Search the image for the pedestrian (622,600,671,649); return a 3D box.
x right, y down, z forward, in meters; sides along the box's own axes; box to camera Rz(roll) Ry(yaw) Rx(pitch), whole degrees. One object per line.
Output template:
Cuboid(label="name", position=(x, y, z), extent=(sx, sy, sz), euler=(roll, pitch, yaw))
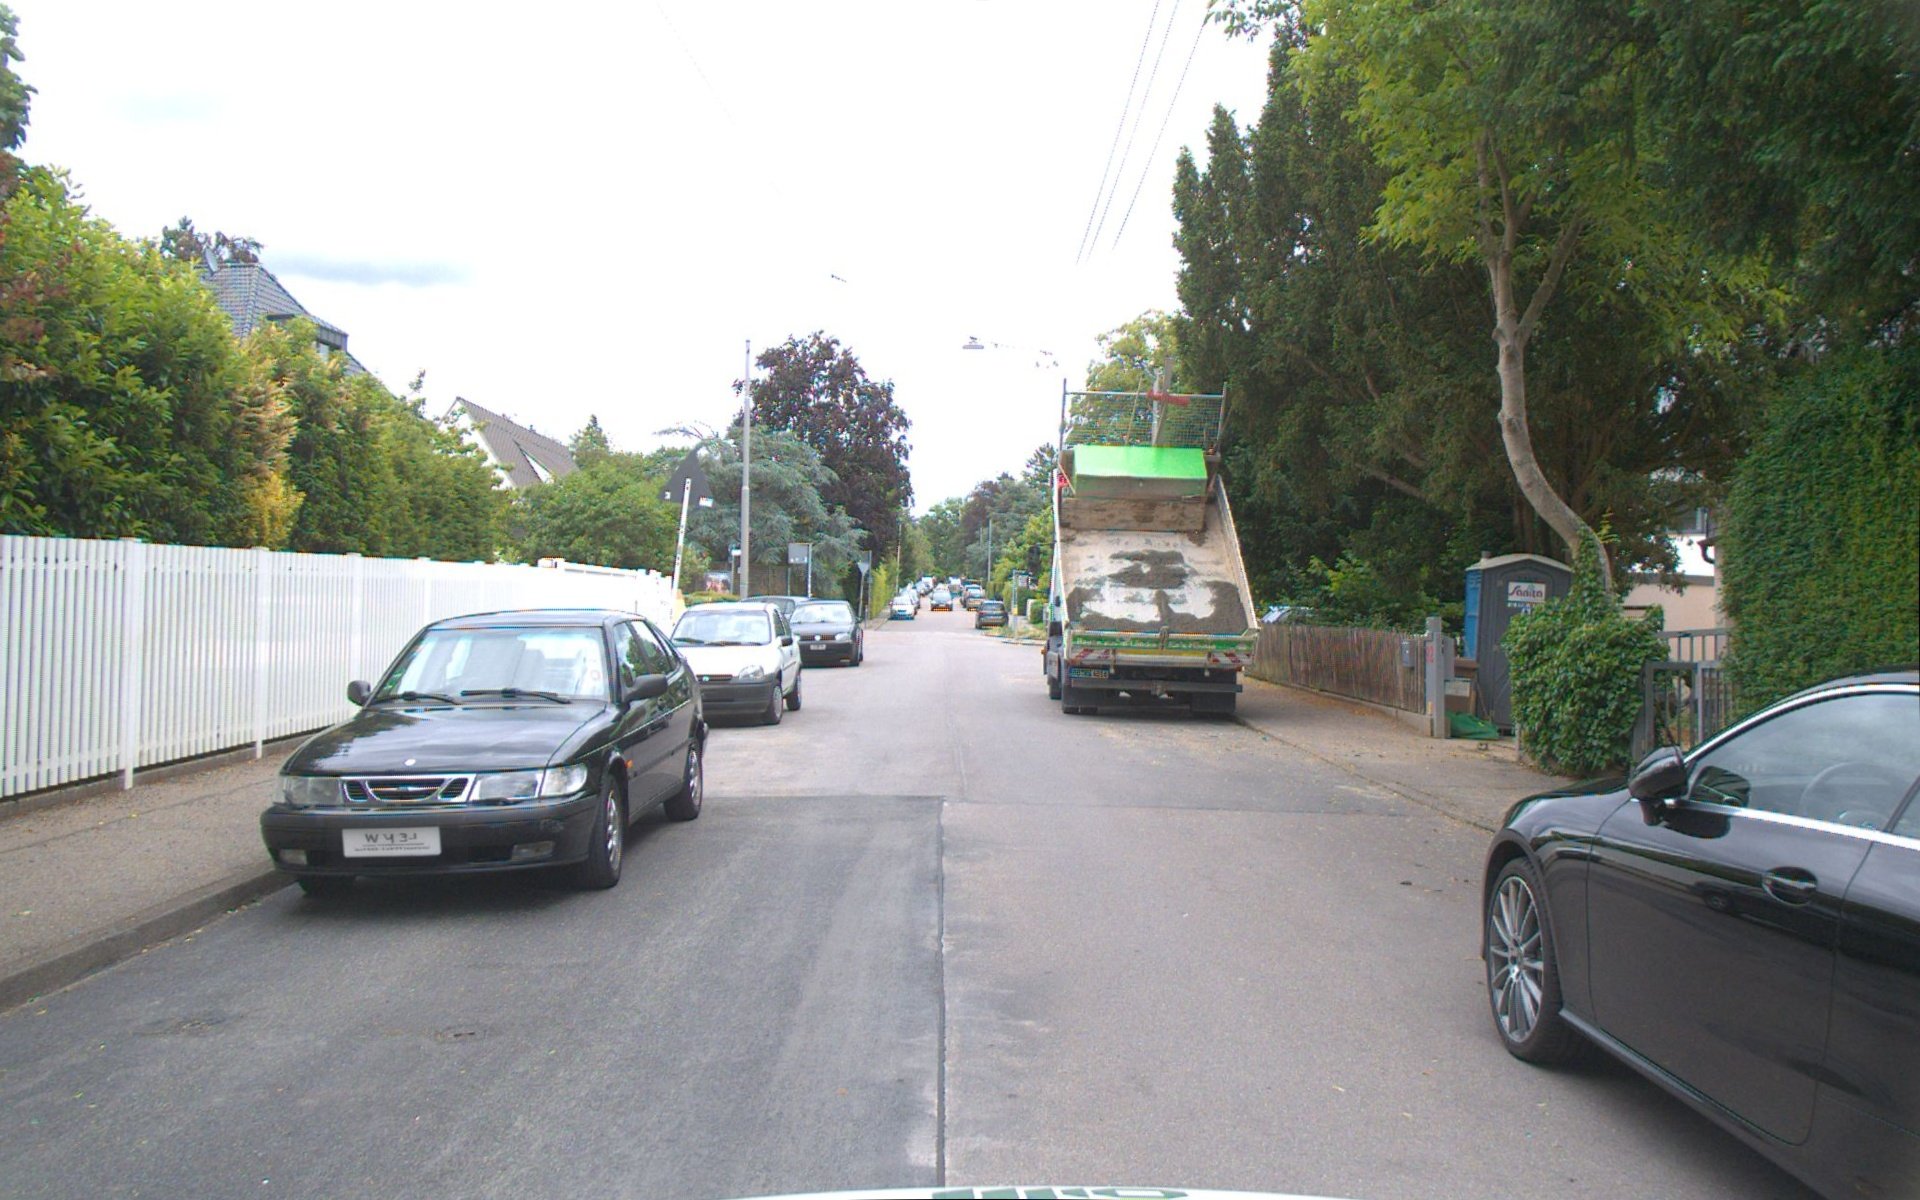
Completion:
Cuboid(label="pedestrian", position=(-8.077, 0.639, 42.670), extent=(0.941, 1.246, 0.823), euler=(2, -1, -43))

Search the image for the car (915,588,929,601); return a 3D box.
Cuboid(label="car", position=(-4.670, -0.681, 201.732), extent=(1.594, 1.410, 3.597), euler=(3, 0, -1))

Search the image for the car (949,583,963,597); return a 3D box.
Cuboid(label="car", position=(-0.534, -1.263, 210.196), extent=(1.601, 1.731, 3.493), euler=(1, 0, -1))

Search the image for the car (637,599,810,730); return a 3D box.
Cuboid(label="car", position=(-2.866, 0.731, 20.799), extent=(1.563, 1.458, 4.000), euler=(-1, 0, 0))

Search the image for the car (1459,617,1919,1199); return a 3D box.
Cuboid(label="car", position=(2.742, 0.815, 3.981), extent=(1.618, 1.449, 4.660), euler=(2, 0, 0))

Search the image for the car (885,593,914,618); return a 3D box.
Cuboid(label="car", position=(-4.104, 0.367, 113.208), extent=(1.676, 1.613, 4.001), euler=(1, 0, 2))

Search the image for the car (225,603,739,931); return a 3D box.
Cuboid(label="car", position=(-2.504, 0.773, 9.874), extent=(1.607, 1.447, 4.550), euler=(-2, 0, 1))

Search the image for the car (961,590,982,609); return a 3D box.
Cuboid(label="car", position=(1.049, -0.051, 145.916), extent=(1.752, 1.556, 3.734), euler=(1, 0, 1))

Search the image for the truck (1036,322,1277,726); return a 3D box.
Cuboid(label="truck", position=(2.560, -0.926, 23.713), extent=(2.473, 4.831, 7.187), euler=(2, 0, 0))

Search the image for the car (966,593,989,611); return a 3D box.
Cuboid(label="car", position=(1.451, 0.168, 137.085), extent=(1.774, 1.359, 3.631), euler=(2, 1, -1))

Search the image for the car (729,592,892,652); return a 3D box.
Cuboid(label="car", position=(-3.951, 0.566, 43.854), extent=(3.902, 1.469, 1.828), euler=(1, 1, 16))

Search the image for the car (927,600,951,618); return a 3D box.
Cuboid(label="car", position=(-1.680, 0.696, 134.547), extent=(1.692, 1.432, 3.805), euler=(1, 0, 3))

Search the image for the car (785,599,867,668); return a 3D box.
Cuboid(label="car", position=(-2.944, 0.709, 36.949), extent=(1.604, 1.419, 3.987), euler=(-1, 0, -2))

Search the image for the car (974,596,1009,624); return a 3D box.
Cuboid(label="car", position=(1.767, 0.563, 93.475), extent=(1.743, 1.515, 3.999), euler=(1, 0, -2))
